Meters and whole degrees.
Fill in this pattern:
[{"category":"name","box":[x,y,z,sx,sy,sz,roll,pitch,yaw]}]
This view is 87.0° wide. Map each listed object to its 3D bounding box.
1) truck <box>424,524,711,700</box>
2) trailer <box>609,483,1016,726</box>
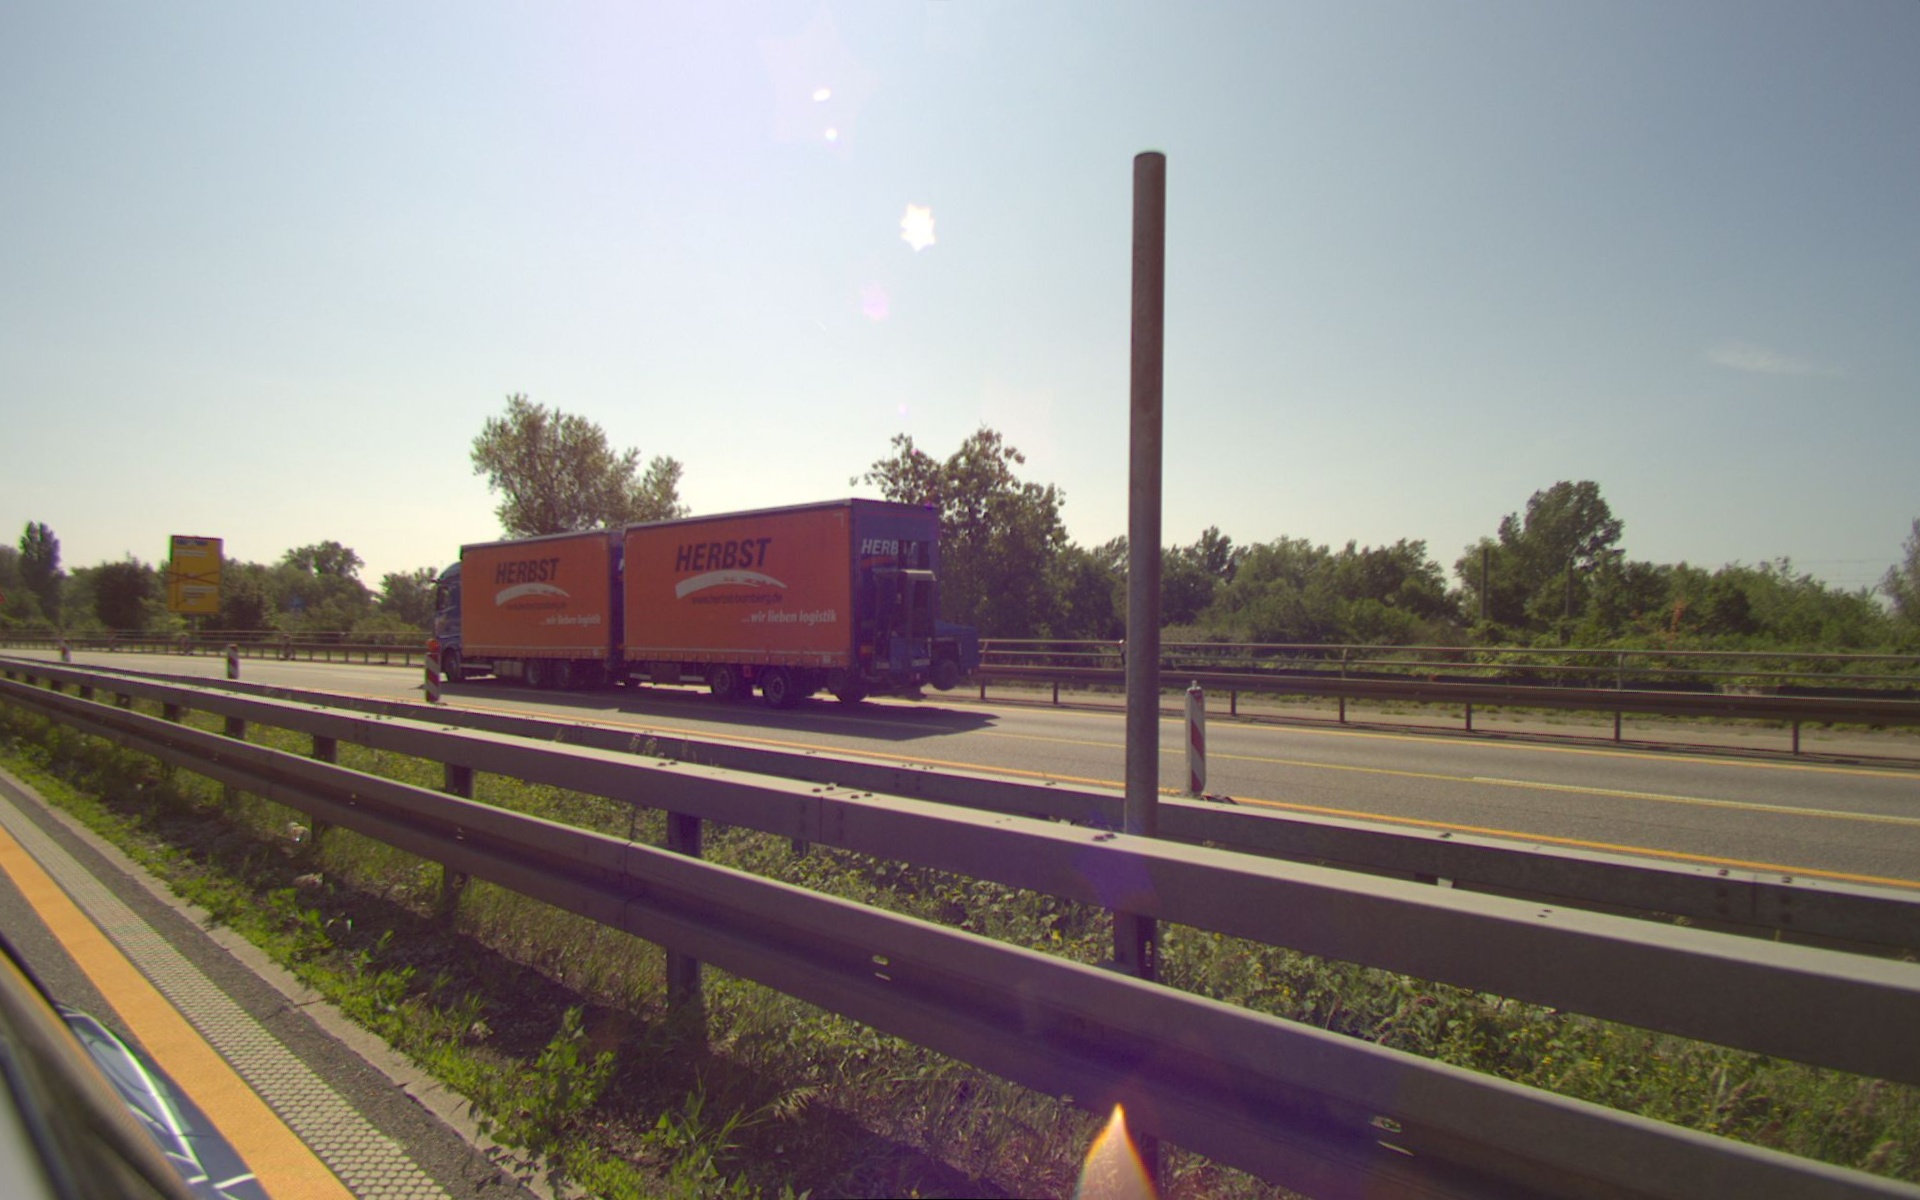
[{"category":"truck","box":[-11.362,0.392,28.390,10.620,4.122,3.006,-2,-1,42]},{"category":"trailer","box":[-3.580,0.181,21.581,9.785,4.122,3.006,-2,-1,42]}]
